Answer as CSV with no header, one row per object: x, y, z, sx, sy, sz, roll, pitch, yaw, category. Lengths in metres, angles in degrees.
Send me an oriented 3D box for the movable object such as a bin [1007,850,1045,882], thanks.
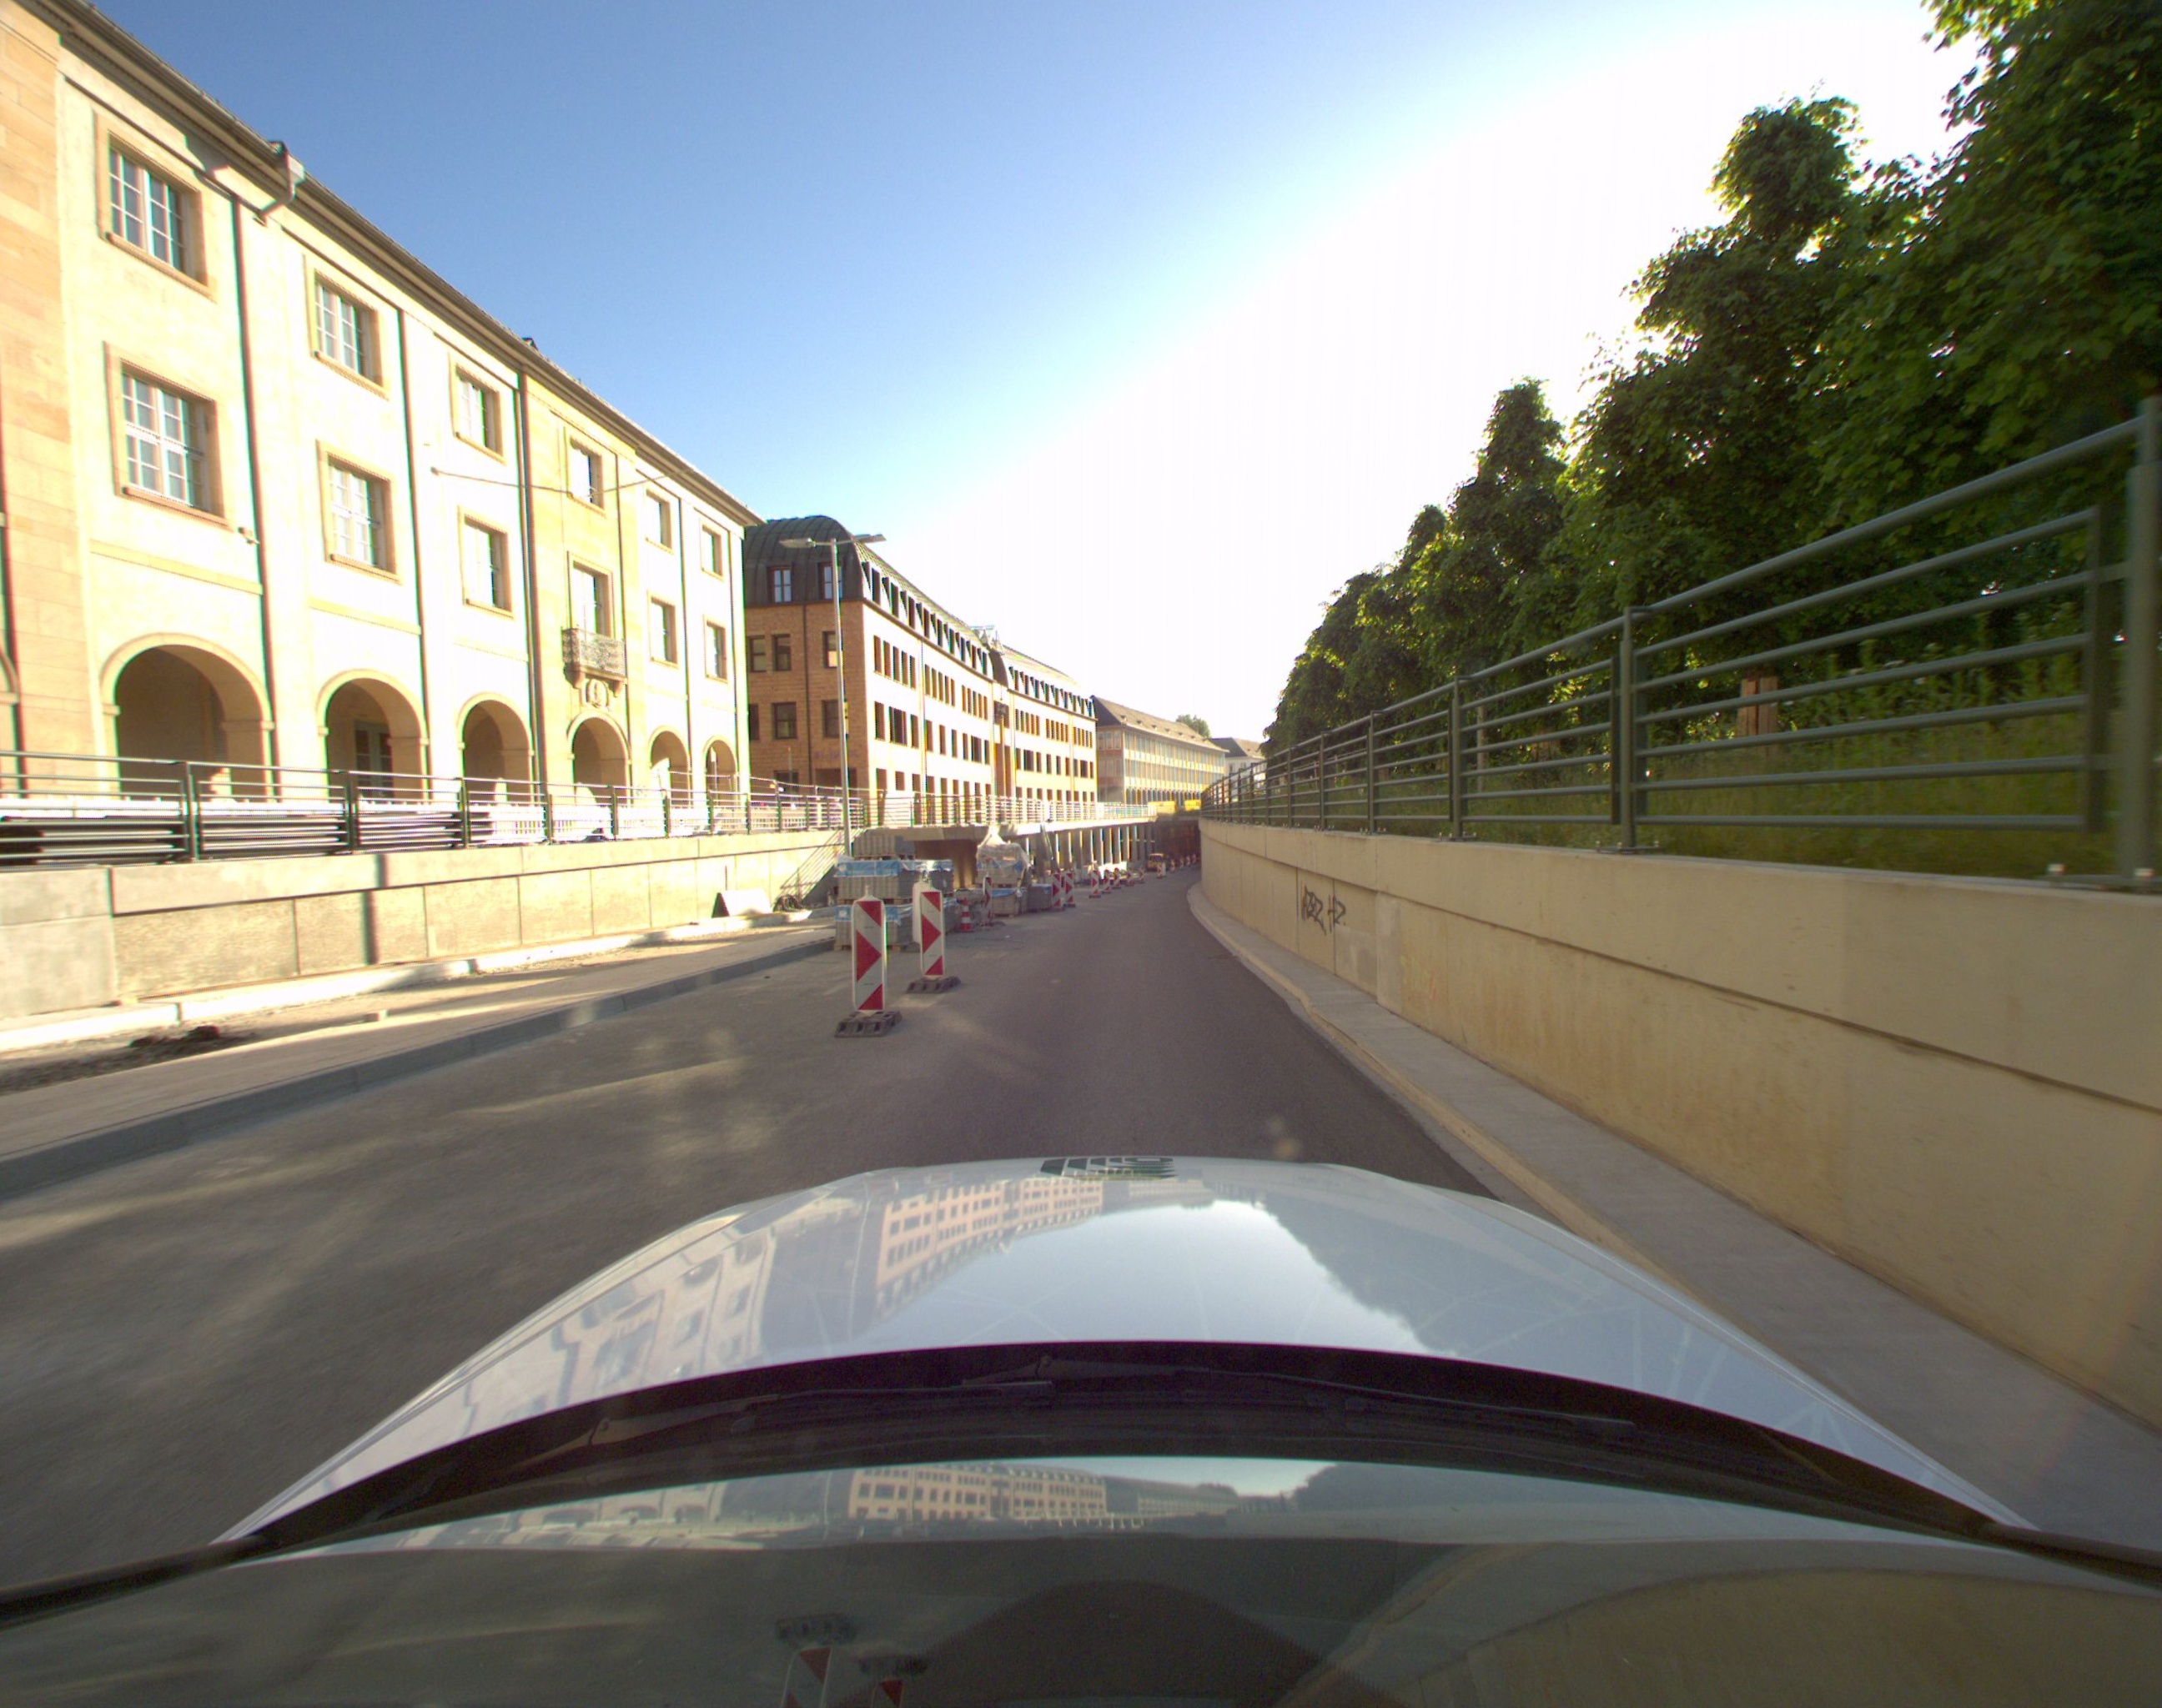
-3.462,0.722,51.769,1.875,1.987,3.165,0,0,7,movable object such as a bin

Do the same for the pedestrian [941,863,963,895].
-5.896,1.141,37.285,0.868,1.398,0.783,-1,-1,0,pedestrian

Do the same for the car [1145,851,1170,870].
7.787,0.647,82.363,1.834,1.775,4.453,0,2,15,car
